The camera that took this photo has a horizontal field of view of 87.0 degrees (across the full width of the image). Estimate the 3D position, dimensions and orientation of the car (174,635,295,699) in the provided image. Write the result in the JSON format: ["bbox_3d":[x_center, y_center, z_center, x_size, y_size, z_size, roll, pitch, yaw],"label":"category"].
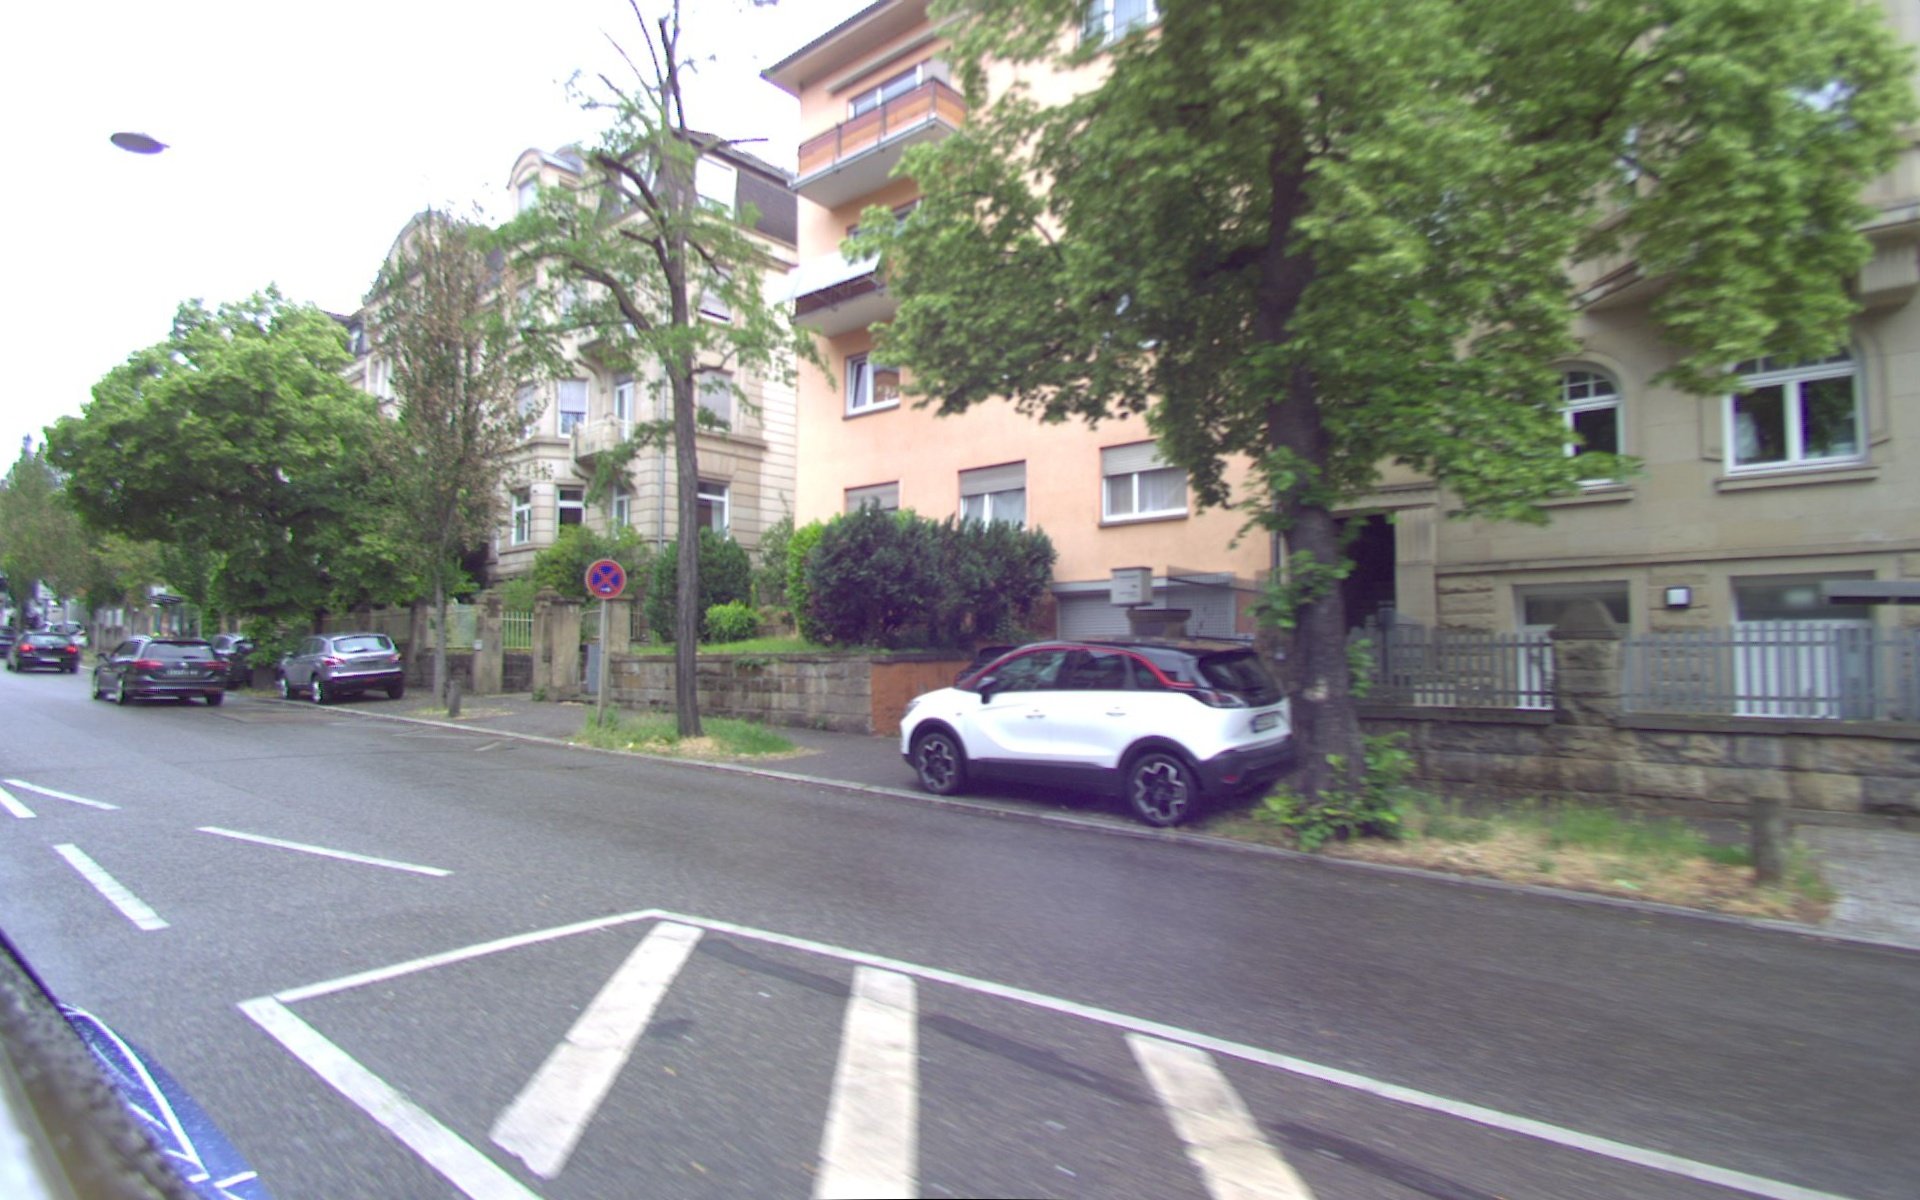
[{"bbox_3d":[-21.150,1.883,29.455,4.296,1.571,1.725,0,1,38],"label":"car"}]

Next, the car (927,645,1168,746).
[{"bbox_3d":[1.467,1.394,15.710,1.835,1.337,3.947,-2,-4,39],"label":"car"}]

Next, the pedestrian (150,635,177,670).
[{"bbox_3d":[-33.778,2.242,42.932,0.649,1.443,0.758,0,-3,43],"label":"pedestrian"}]

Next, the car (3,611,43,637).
[{"bbox_3d":[-64.894,1.646,70.069,1.973,1.607,3.831,-1,1,-44],"label":"car"}]

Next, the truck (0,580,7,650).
[{"bbox_3d":[-57.323,0.803,58.573,9.311,3.884,2.617,-1,-5,45],"label":"truck"}]

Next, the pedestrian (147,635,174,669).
[{"bbox_3d":[-34.151,2.231,43.240,0.649,1.443,0.758,0,-3,43],"label":"pedestrian"}]

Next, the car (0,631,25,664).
[{"bbox_3d":[-45.104,2.183,47.069,4.744,1.479,1.754,-2,-5,41],"label":"car"}]

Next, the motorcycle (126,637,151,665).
[{"bbox_3d":[-38.471,2.399,47.394,1.763,1.246,0.648,0,-3,45],"label":"motorcycle"}]

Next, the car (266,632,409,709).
[{"bbox_3d":[-14.913,1.609,24.161,4.300,1.571,1.723,0,-1,42],"label":"car"}]

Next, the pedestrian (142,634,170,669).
[{"bbox_3d":[-34.727,2.221,43.729,0.759,1.443,0.758,0,-3,41],"label":"pedestrian"}]

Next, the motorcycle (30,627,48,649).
[{"bbox_3d":[-55.631,2.274,61.108,1.983,1.245,0.648,0,-3,45],"label":"motorcycle"}]

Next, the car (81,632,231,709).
[{"bbox_3d":[-17.847,1.527,22.397,4.547,1.529,1.796,-2,-5,42],"label":"car"}]

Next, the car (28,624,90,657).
[{"bbox_3d":[-46.656,2.057,52.391,4.297,1.571,1.724,0,-1,39],"label":"car"}]

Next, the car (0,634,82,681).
[{"bbox_3d":[-33.790,2.058,37.062,4.586,1.529,1.754,-1,-1,39],"label":"car"}]

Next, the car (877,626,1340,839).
[{"bbox_3d":[1.290,1.087,9.977,4.300,1.571,1.723,0,-1,42],"label":"car"}]
